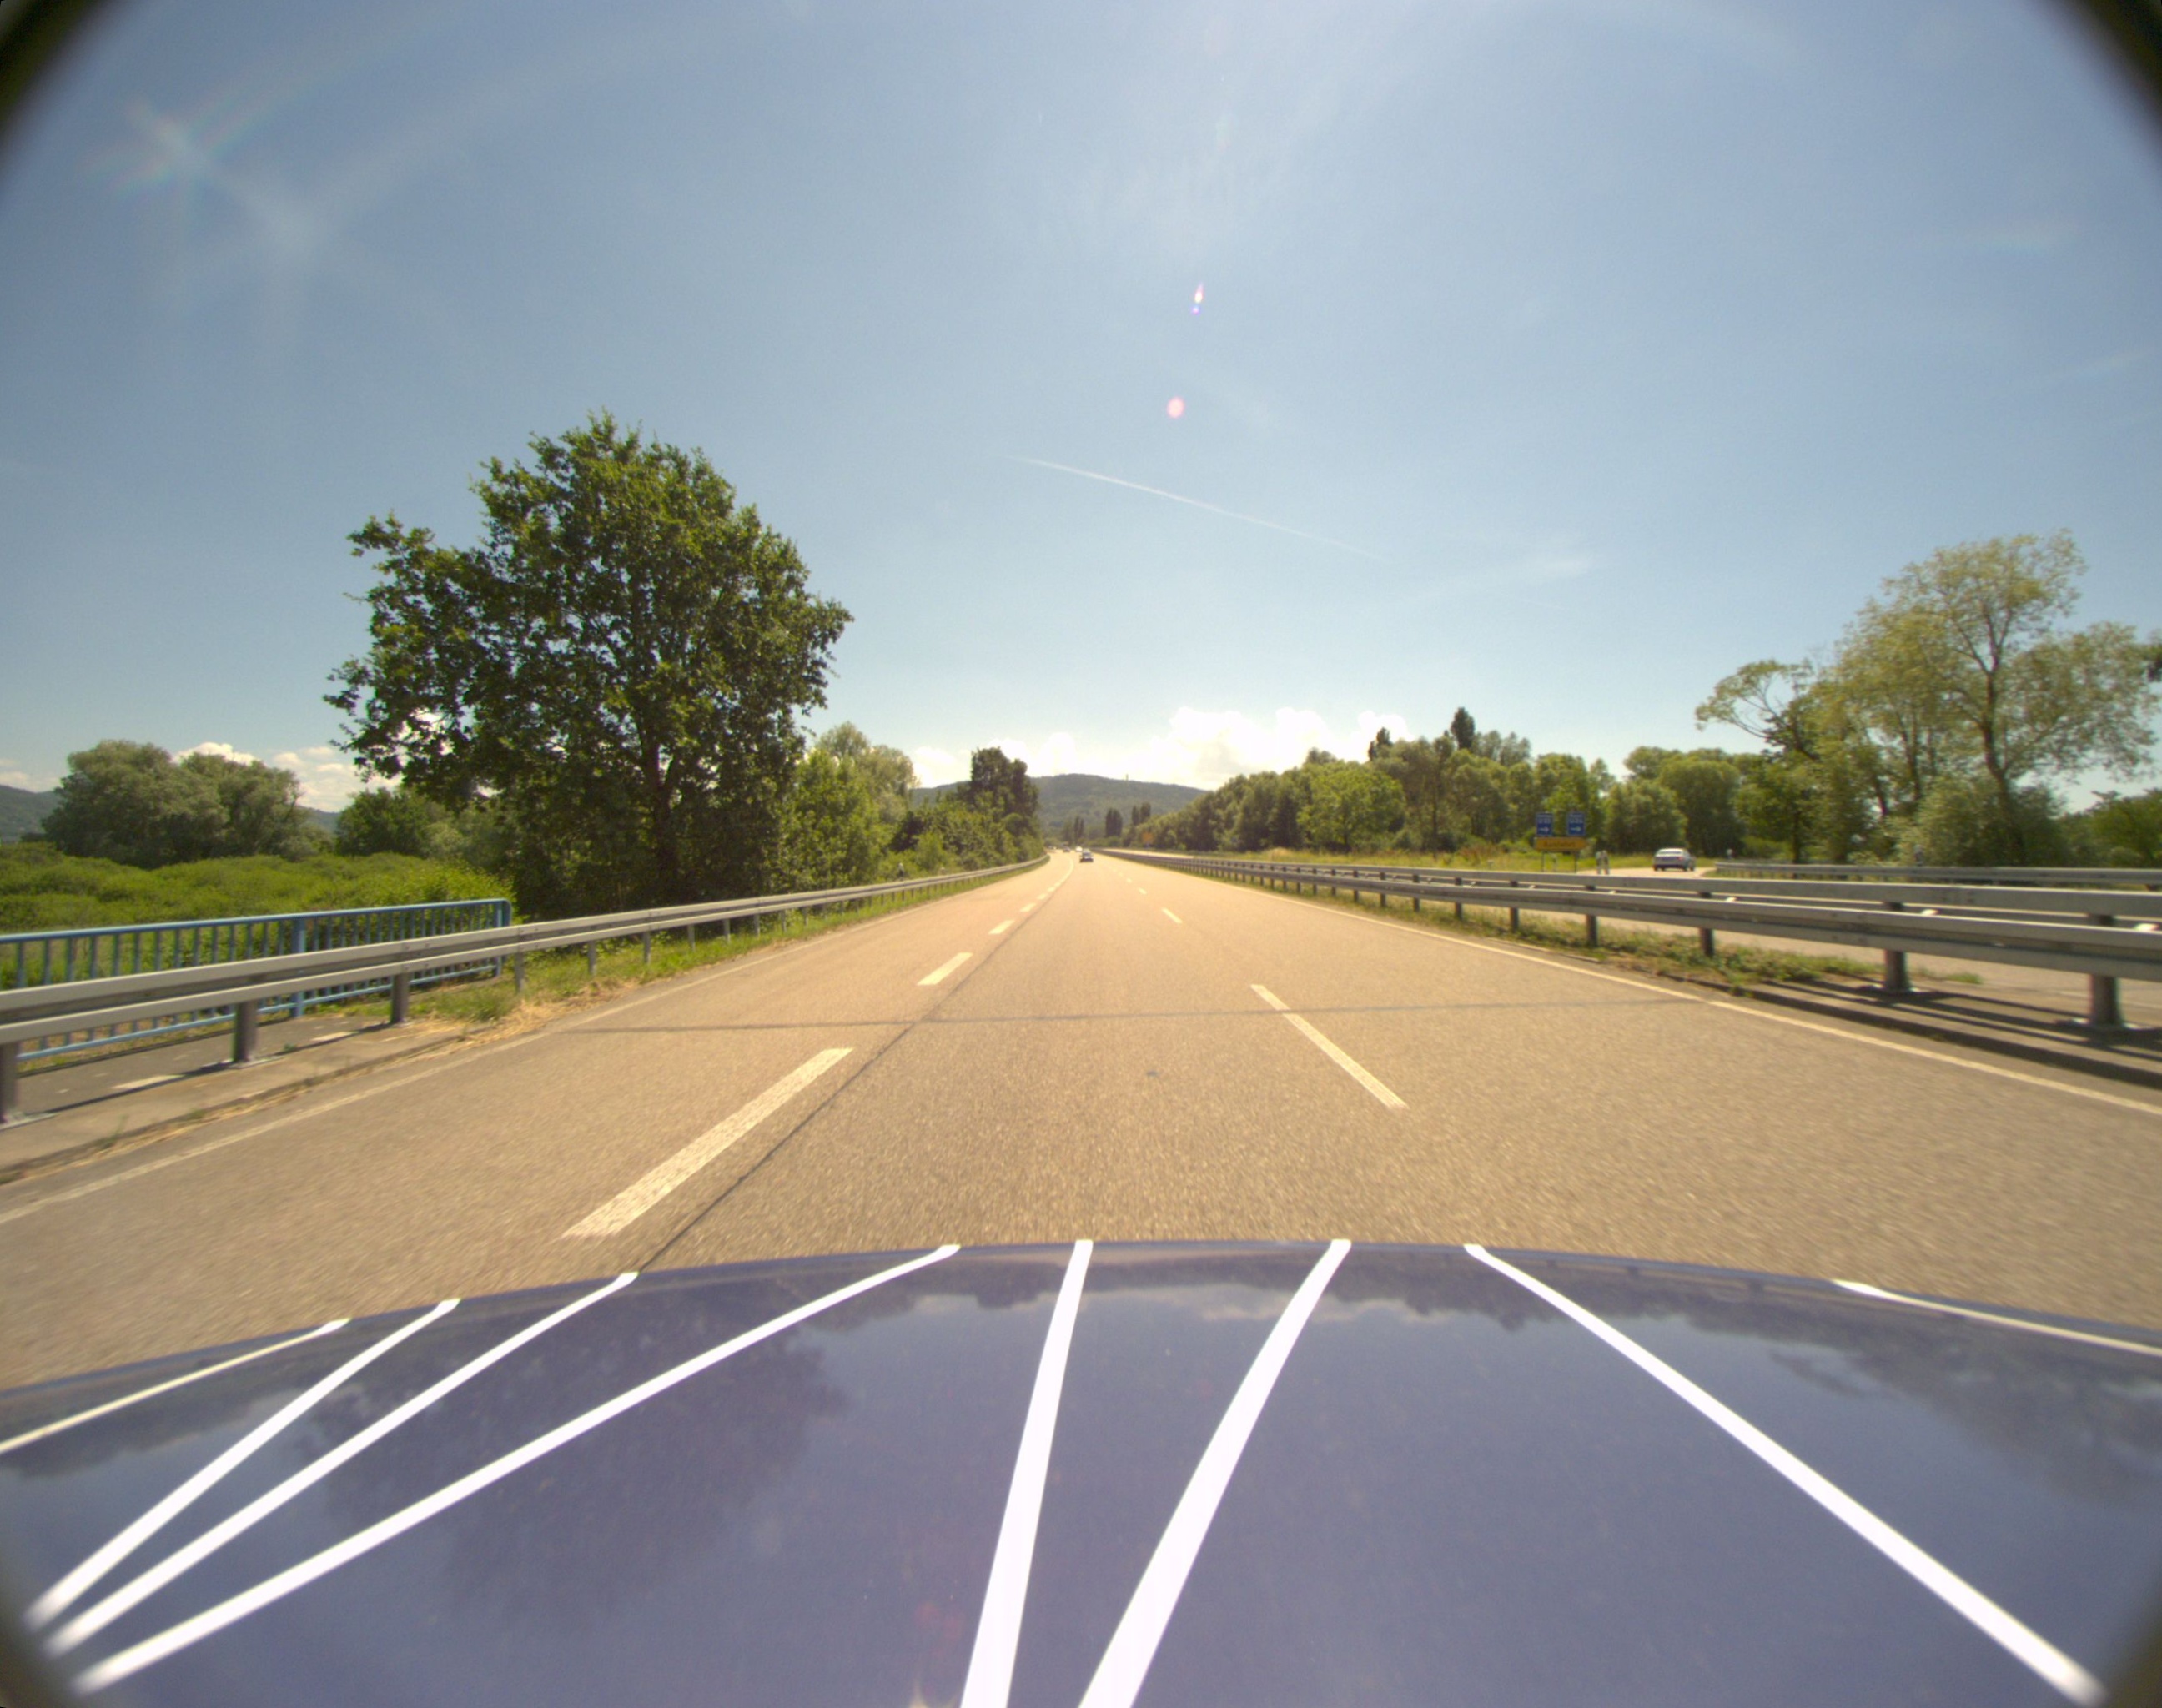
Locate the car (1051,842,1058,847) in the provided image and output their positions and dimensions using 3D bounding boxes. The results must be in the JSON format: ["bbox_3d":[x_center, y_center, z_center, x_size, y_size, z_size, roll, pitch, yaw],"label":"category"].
[{"bbox_3d":[-7.642,-2.776,219.737,1.658,1.536,3.690,-2,1,2],"label":"car"}]

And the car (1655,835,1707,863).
[{"bbox_3d":[39.513,-0.338,49.995,4.952,1.635,1.725,-3,1,-40],"label":"car"}]

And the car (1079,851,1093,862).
[{"bbox_3d":[0.739,0.359,110.754,1.908,1.368,3.890,-2,1,0],"label":"car"}]
